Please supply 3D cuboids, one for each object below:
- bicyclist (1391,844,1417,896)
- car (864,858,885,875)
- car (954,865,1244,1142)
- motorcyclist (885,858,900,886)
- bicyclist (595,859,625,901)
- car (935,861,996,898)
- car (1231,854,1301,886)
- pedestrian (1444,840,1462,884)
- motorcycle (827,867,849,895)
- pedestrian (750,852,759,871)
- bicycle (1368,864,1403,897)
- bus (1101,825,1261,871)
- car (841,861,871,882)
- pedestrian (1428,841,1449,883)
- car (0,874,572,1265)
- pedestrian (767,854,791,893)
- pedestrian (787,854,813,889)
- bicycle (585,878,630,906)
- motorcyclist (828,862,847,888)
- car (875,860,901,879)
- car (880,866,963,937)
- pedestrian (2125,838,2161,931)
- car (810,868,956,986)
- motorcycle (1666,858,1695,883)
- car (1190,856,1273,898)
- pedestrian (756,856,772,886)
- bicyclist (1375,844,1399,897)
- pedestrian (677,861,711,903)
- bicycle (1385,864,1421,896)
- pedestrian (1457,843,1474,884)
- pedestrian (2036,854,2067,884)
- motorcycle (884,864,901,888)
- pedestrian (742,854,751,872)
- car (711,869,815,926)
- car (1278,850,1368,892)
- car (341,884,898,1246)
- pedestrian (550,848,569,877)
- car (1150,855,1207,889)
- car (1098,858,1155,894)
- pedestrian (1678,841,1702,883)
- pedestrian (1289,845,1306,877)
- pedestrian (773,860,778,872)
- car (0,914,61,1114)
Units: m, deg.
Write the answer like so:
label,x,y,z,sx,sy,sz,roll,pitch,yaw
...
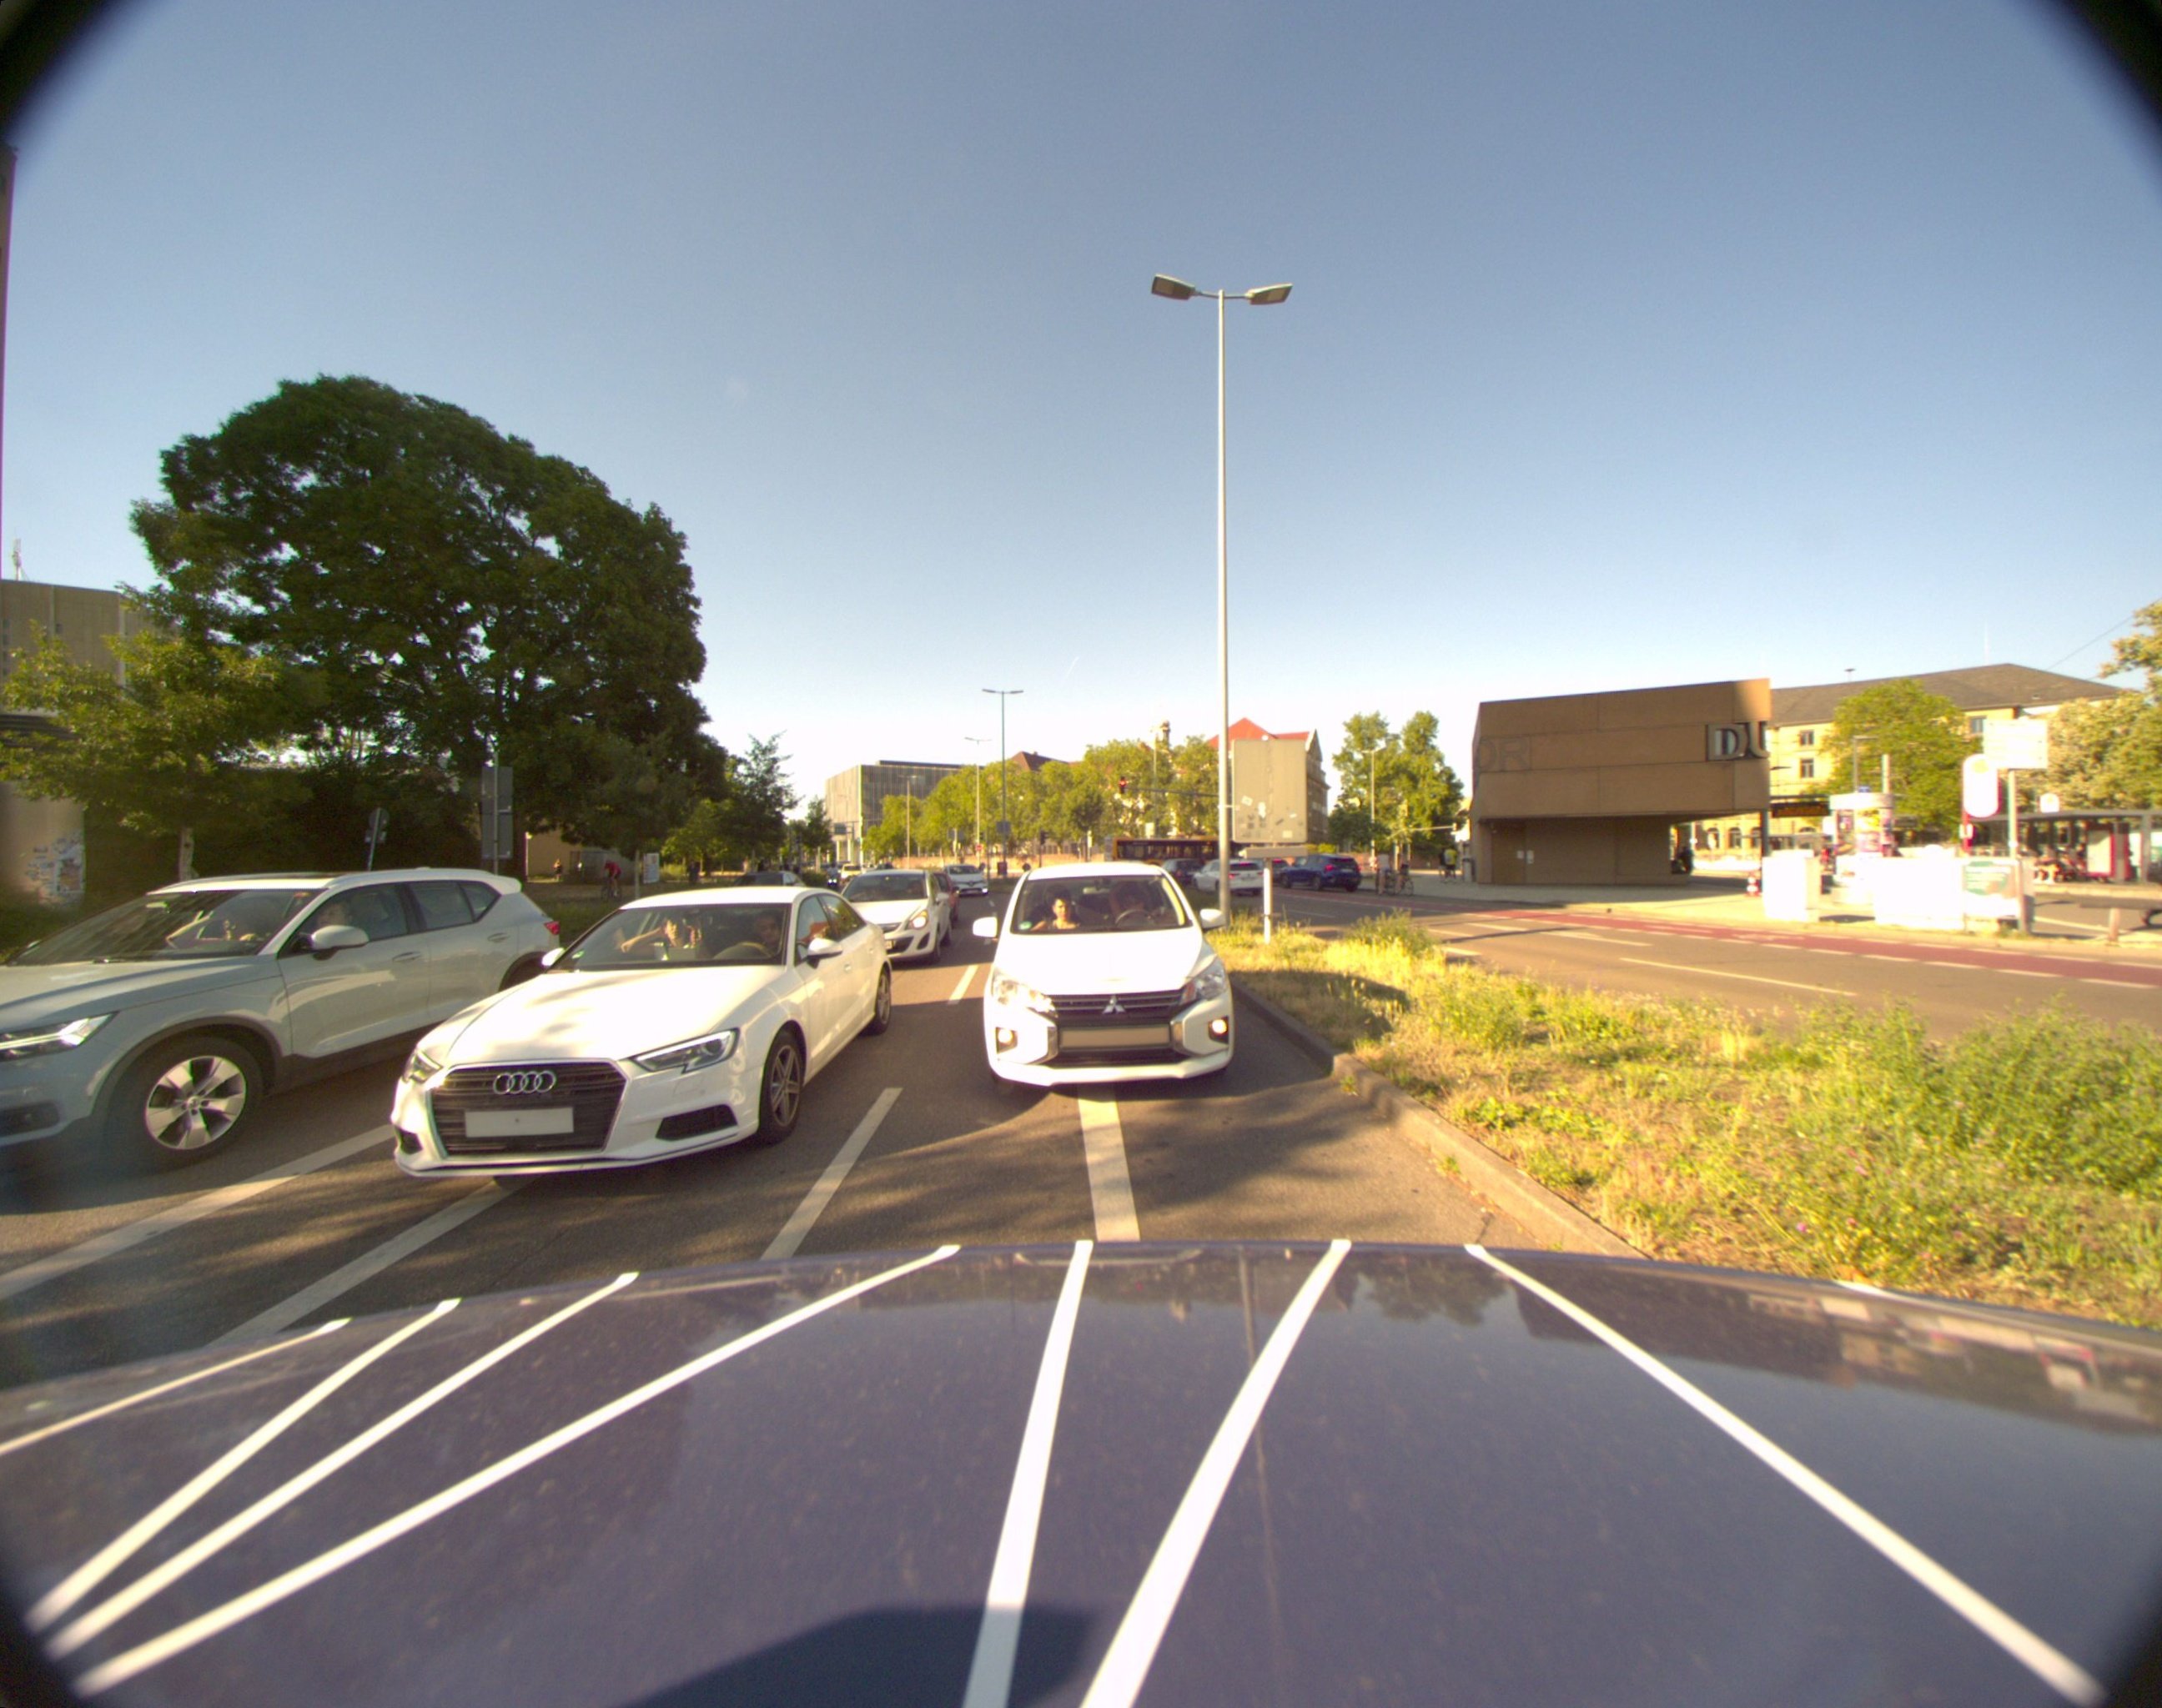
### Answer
label,x,y,z,sx,sy,sz,roll,pitch,yaw
bicyclist,12.480,0.613,29.384,0.611,2.002,0.708,-1,1,-15
car,-21.735,1.310,79.845,1.748,1.696,3.993,-1,0,-21
car,0.056,0.894,6.429,1.628,1.451,4.040,-2,1,-2
motorcyclist,-10.802,1.014,43.645,0.711,1.581,0.689,-2,1,-10
bicyclist,-18.185,1.004,29.332,0.617,1.551,0.870,-2,1,-8
car,-5.220,1.086,33.998,1.758,1.451,4.181,-3,1,-21
car,9.429,0.791,39.051,1.850,1.483,4.388,1,0,-10
pedestrian,17.308,0.365,35.337,0.655,2.002,0.469,-2,1,20
motorcycle,-12.634,1.389,39.481,0.718,1.297,2.233,-2,1,-9
pedestrian,-27.819,0.602,64.734,0.548,1.597,0.603,-3,1,-19
bicycle,11.736,1.013,29.323,0.464,1.185,1.395,-3,1,-17
bus,8.116,-0.533,61.795,12.550,3.193,3.083,-2,1,-14
car,-17.292,1.323,58.602,1.746,1.516,3.996,-1,0,-9
pedestrian,17.634,0.376,37.480,0.777,2.002,0.773,-2,1,13
car,-5.750,1.053,5.253,1.628,1.611,4.223,-2,1,-2
pedestrian,-16.005,1.037,40.291,0.895,2.002,0.881,-2,1,-10
pedestrian,-16.716,1.009,45.277,1.143,2.002,1.285,-2,1,-10
bicycle,-18.175,1.448,29.226,0.660,0.958,2.033,0,1,-7
motorcyclist,-12.640,1.099,39.483,0.718,1.297,0.735,-2,1,-4
car,-16.813,1.296,66.099,1.748,1.536,3.993,-1,0,-20
car,-3.896,1.098,19.092,1.628,1.451,4.039,-2,1,-7
pedestrian,20.965,0.575,14.691,0.713,1.748,0.583,-2,1,20
car,-3.074,1.049,12.575,1.628,1.451,4.039,-2,1,-5
motorcycle,26.208,0.708,33.214,0.948,1.061,0.331,-1,1,39
car,6.087,0.886,31.348,1.850,1.483,4.388,-2,1,-10
pedestrian,-16.976,0.923,40.756,0.596,1.585,0.594,-2,1,-8
bicyclist,11.775,0.617,29.263,0.611,2.002,0.565,-1,1,-15
pedestrian,-16.605,1.183,32.611,1.010,1.711,0.884,-2,1,-10
bicycle,12.481,0.983,29.461,0.464,1.185,1.395,-3,1,-17
pedestrian,19.069,0.457,37.666,0.655,2.002,0.469,-2,1,20
pedestrian,39.001,0.613,30.545,0.539,1.180,0.659,-2,1,29
motorcycle,-10.858,1.232,43.908,0.718,1.297,2.233,-2,1,-9
pedestrian,-28.373,0.753,64.500,0.548,1.521,0.603,-3,1,-19
car,-9.796,1.280,23.766,1.756,1.451,4.186,-2,1,-5
car,10.450,0.695,33.168,1.757,1.680,4.183,-1,0,-14
car,-2.553,1.036,5.386,1.628,1.396,3.832,-2,1,-2
pedestrian,-37.477,0.625,54.625,0.929,2.002,0.754,-3,1,-27
car,4.731,0.830,37.376,1.756,1.451,4.186,-2,1,-7
car,2.066,0.992,35.900,1.757,1.451,4.185,-2,1,-9
pedestrian,29.849,0.373,37.246,0.780,2.002,0.771,-3,2,-42
pedestrian,12.930,0.413,45.323,0.797,1.886,0.612,0,1,40
pedestrian,-43.671,1.725,108.620,0.399,1.676,0.483,-1,1,1
car,-8.758,1.241,3.879,1.628,1.451,4.040,-2,1,-2
